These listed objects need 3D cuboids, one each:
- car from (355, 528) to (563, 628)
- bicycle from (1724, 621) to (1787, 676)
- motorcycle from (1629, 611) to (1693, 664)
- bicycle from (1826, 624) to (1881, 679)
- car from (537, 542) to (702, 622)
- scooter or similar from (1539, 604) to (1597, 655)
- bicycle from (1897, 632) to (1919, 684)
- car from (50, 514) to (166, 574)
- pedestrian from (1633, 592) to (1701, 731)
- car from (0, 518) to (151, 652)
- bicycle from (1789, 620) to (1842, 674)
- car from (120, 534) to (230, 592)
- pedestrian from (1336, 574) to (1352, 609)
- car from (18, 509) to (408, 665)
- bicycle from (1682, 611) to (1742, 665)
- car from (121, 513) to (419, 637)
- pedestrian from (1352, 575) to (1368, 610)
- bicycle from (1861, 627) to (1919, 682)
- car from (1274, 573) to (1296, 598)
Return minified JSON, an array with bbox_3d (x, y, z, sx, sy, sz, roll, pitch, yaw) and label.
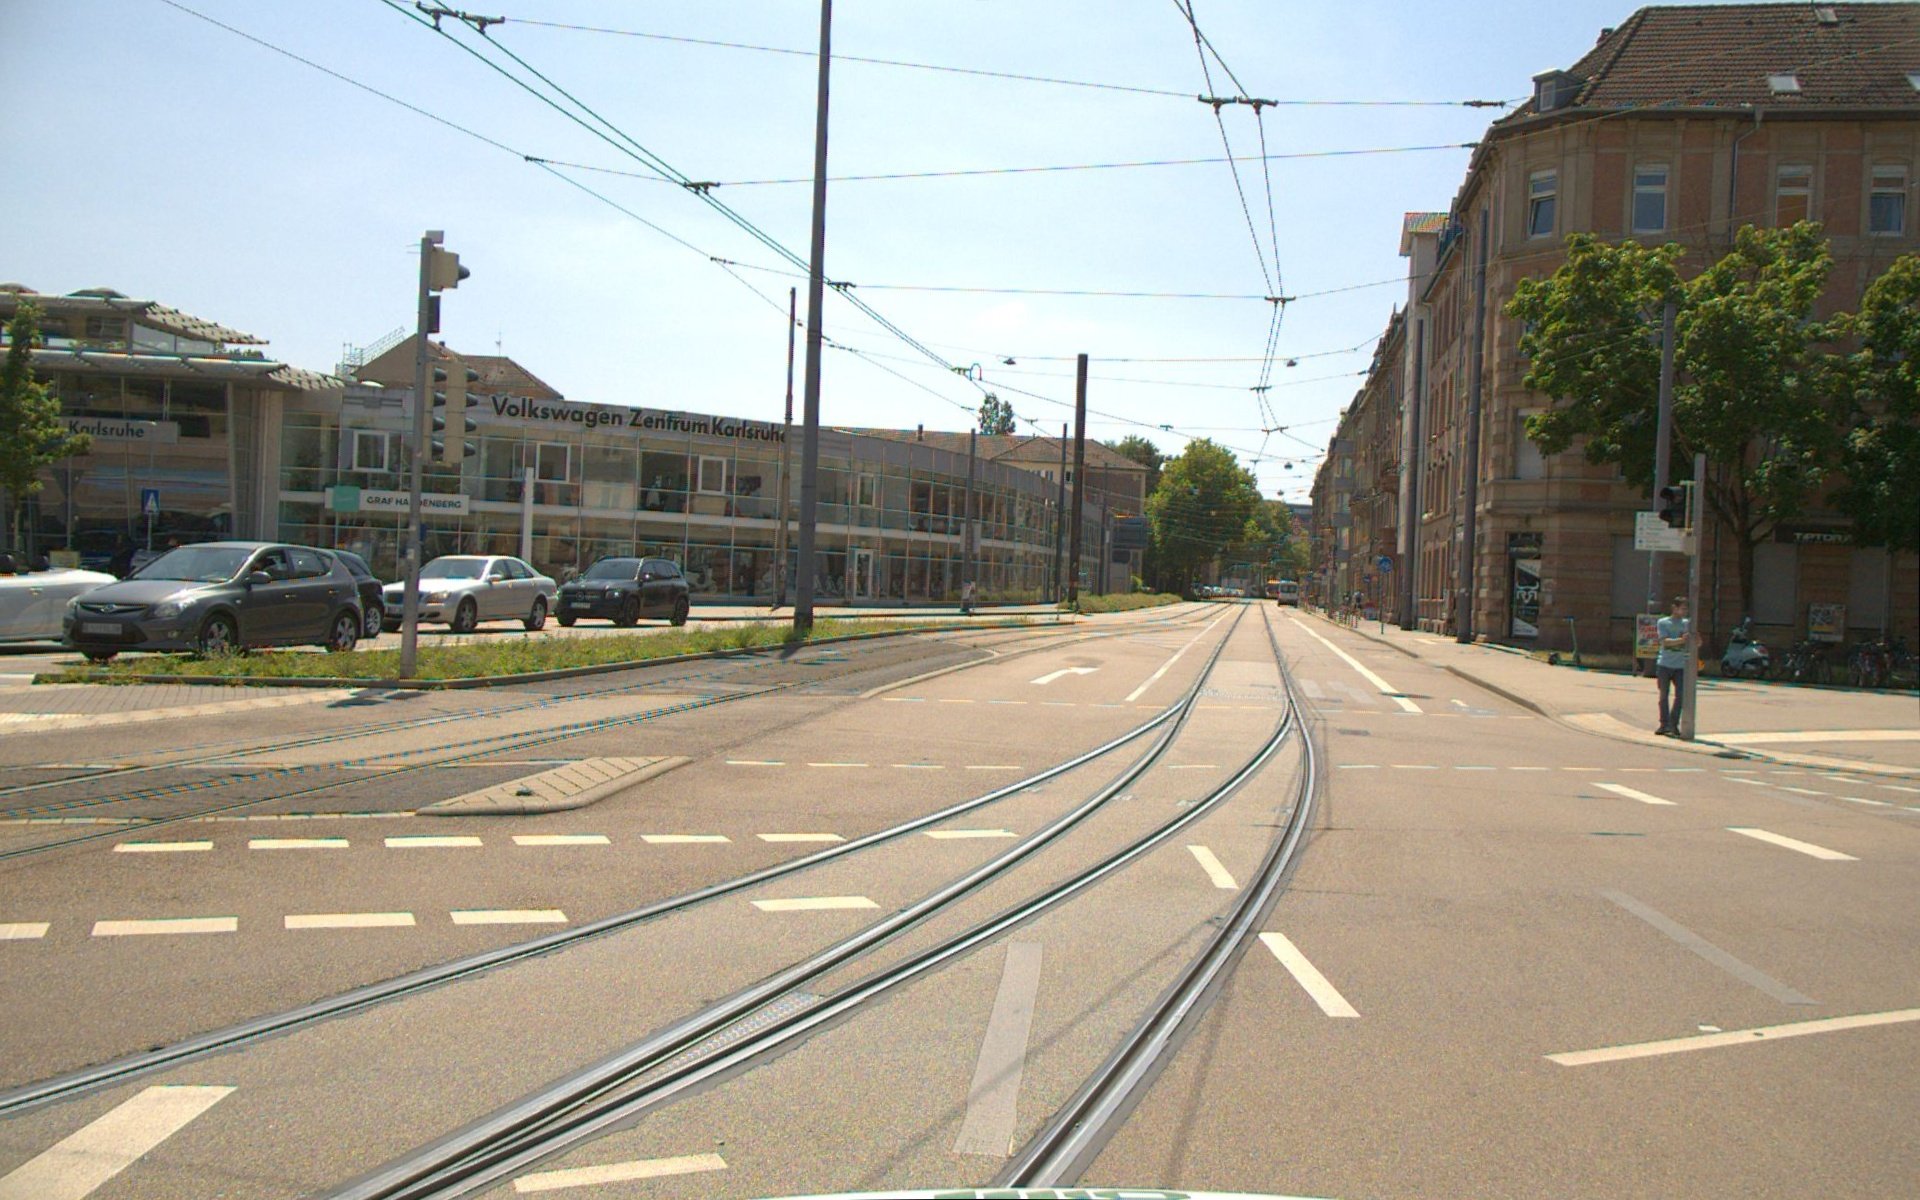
[{"bbox_3d":[-9.862,-0.439,32.967,1.951,1.769,4.547,3,1,12],"label":"car"},{"bbox_3d":[18.225,1.096,37.935,0.433,1.165,2.094,4,0,2],"label":"bicycle"},{"bbox_3d":[16.018,0.846,37.822,0.568,1.093,1.946,2,1,-1],"label":"motorcycle"},{"bbox_3d":[20.205,1.152,37.441,0.539,1.139,1.822,3,1,11],"label":"bicycle"},{"bbox_3d":[-8.090,-0.440,39.789,2.034,1.712,4.850,3,1,12],"label":"car"},{"bbox_3d":[14.849,0.717,40.365,1.778,1.201,0.590,2,1,-44],"label":"scooter or similar"},{"bbox_3d":[22.103,1.344,37.870,0.539,1.139,1.872,3,1,11],"label":"bicycle"},{"bbox_3d":[-28.293,-1.835,55.046,1.883,1.736,3.997,4,0,-4],"label":"car"},{"bbox_3d":[9.120,0.787,21.338,0.453,1.737,0.638,2,1,-12],"label":"pedestrian"},{"bbox_3d":[-12.504,-0.234,20.458,2.032,1.607,4.850,3,1,9],"label":"car"},{"bbox_3d":[19.433,1.055,37.594,0.539,1.139,1.822,3,1,11],"label":"bicycle"},{"bbox_3d":[-26.197,-1.198,55.360,1.883,1.736,3.997,4,0,-4],"label":"car"},{"bbox_3d":[23.153,-0.534,99.739,0.751,2.048,0.664,4,0,7],"label":"pedestrian"},{"bbox_3d":[-9.238,-0.186,21.017,1.951,1.665,4.850,3,1,12],"label":"car"},{"bbox_3d":[17.150,0.854,37.756,0.539,1.139,1.821,2,1,2],"label":"bicycle"},{"bbox_3d":[-10.954,-0.404,26.715,1.951,1.730,4.850,3,1,12],"label":"car"},{"bbox_3d":[24.082,-0.459,99.634,0.751,2.048,0.664,4,0,7],"label":"pedestrian"},{"bbox_3d":[20.968,1.212,37.301,0.539,1.139,1.891,3,1,11],"label":"bicycle"},{"bbox_3d":[32.669,-1.438,166.546,1.951,2.218,4.373,4,0,10],"label":"car"}]
